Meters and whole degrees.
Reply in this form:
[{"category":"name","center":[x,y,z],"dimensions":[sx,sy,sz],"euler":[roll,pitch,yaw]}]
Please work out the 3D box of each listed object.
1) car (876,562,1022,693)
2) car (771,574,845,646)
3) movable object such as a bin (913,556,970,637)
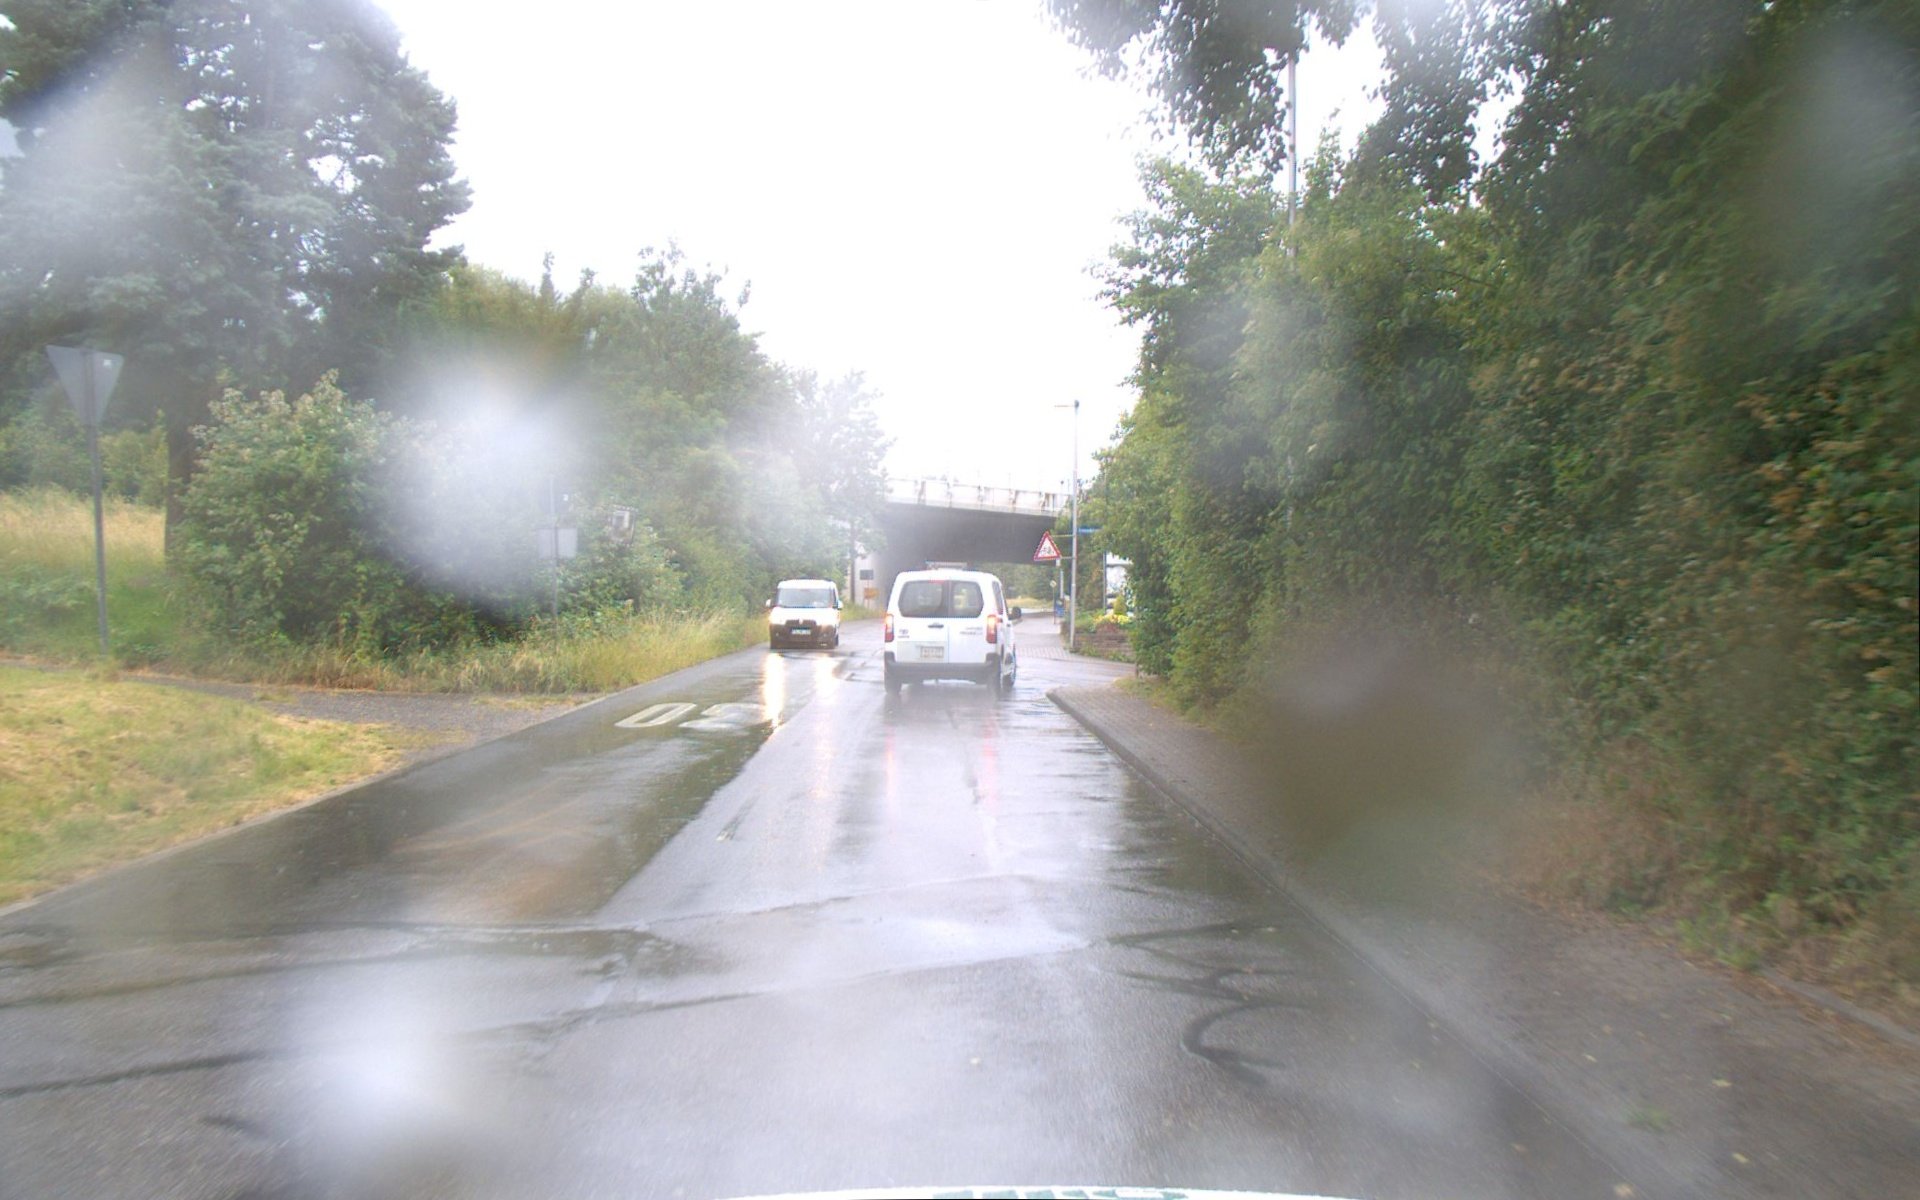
[{"category":"car","center":[-0.086,0.354,25.818],"dimensions":[1.856,1.838,4.003],"euler":[-1,1,5]},{"category":"car","center":[-4.061,0.238,44.850],"dimensions":[1.787,1.864,4.305],"euler":[0,0,-3]},{"category":"movable object such as a bin","center":[-0.591,-0.130,55.600],"dimensions":[1.725,2.592,4.240],"euler":[0,0,1]}]
